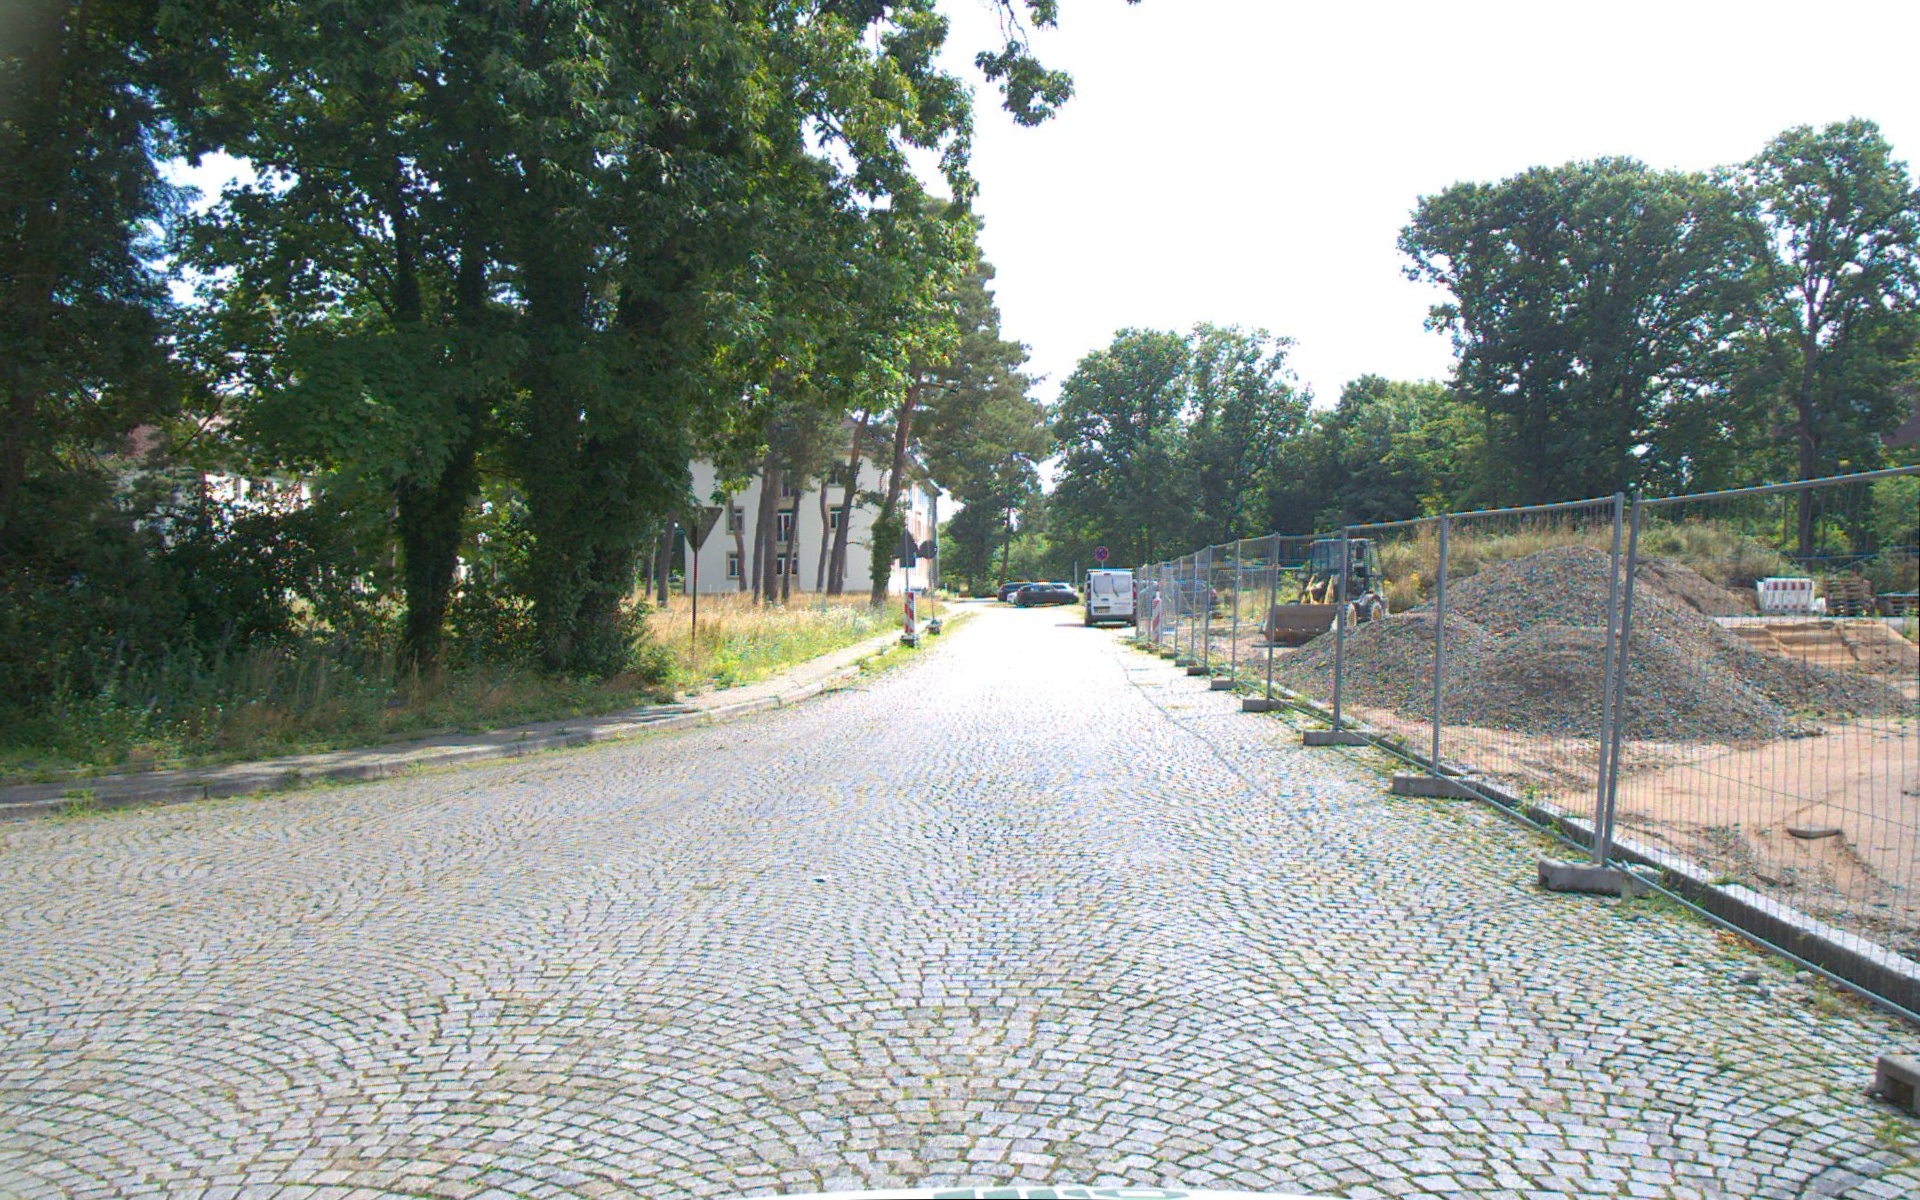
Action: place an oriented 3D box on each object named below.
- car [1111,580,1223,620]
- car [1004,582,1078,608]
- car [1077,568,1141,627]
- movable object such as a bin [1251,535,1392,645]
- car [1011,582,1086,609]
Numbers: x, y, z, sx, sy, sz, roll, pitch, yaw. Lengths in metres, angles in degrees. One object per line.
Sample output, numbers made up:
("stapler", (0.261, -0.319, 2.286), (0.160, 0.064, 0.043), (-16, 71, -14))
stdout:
("car", (8.265, -0.003, 65.826), (4.308, 1.537, 2.002), (0, 0, 10))
("car", (5.387, -0.316, 110.450), (4.685, 1.669, 1.999), (-1, 0, -4))
("car", (5.400, -0.107, 60.363), (1.952, 2.049, 4.091), (-1, 0, 0))
("movable object such as a bin", (9.273, -0.263, 42.133), (2.089, 2.638, 4.781), (-1, 0, 31))
("car", (5.702, -0.285, 106.828), (4.685, 1.669, 1.999), (-1, 0, -4))
